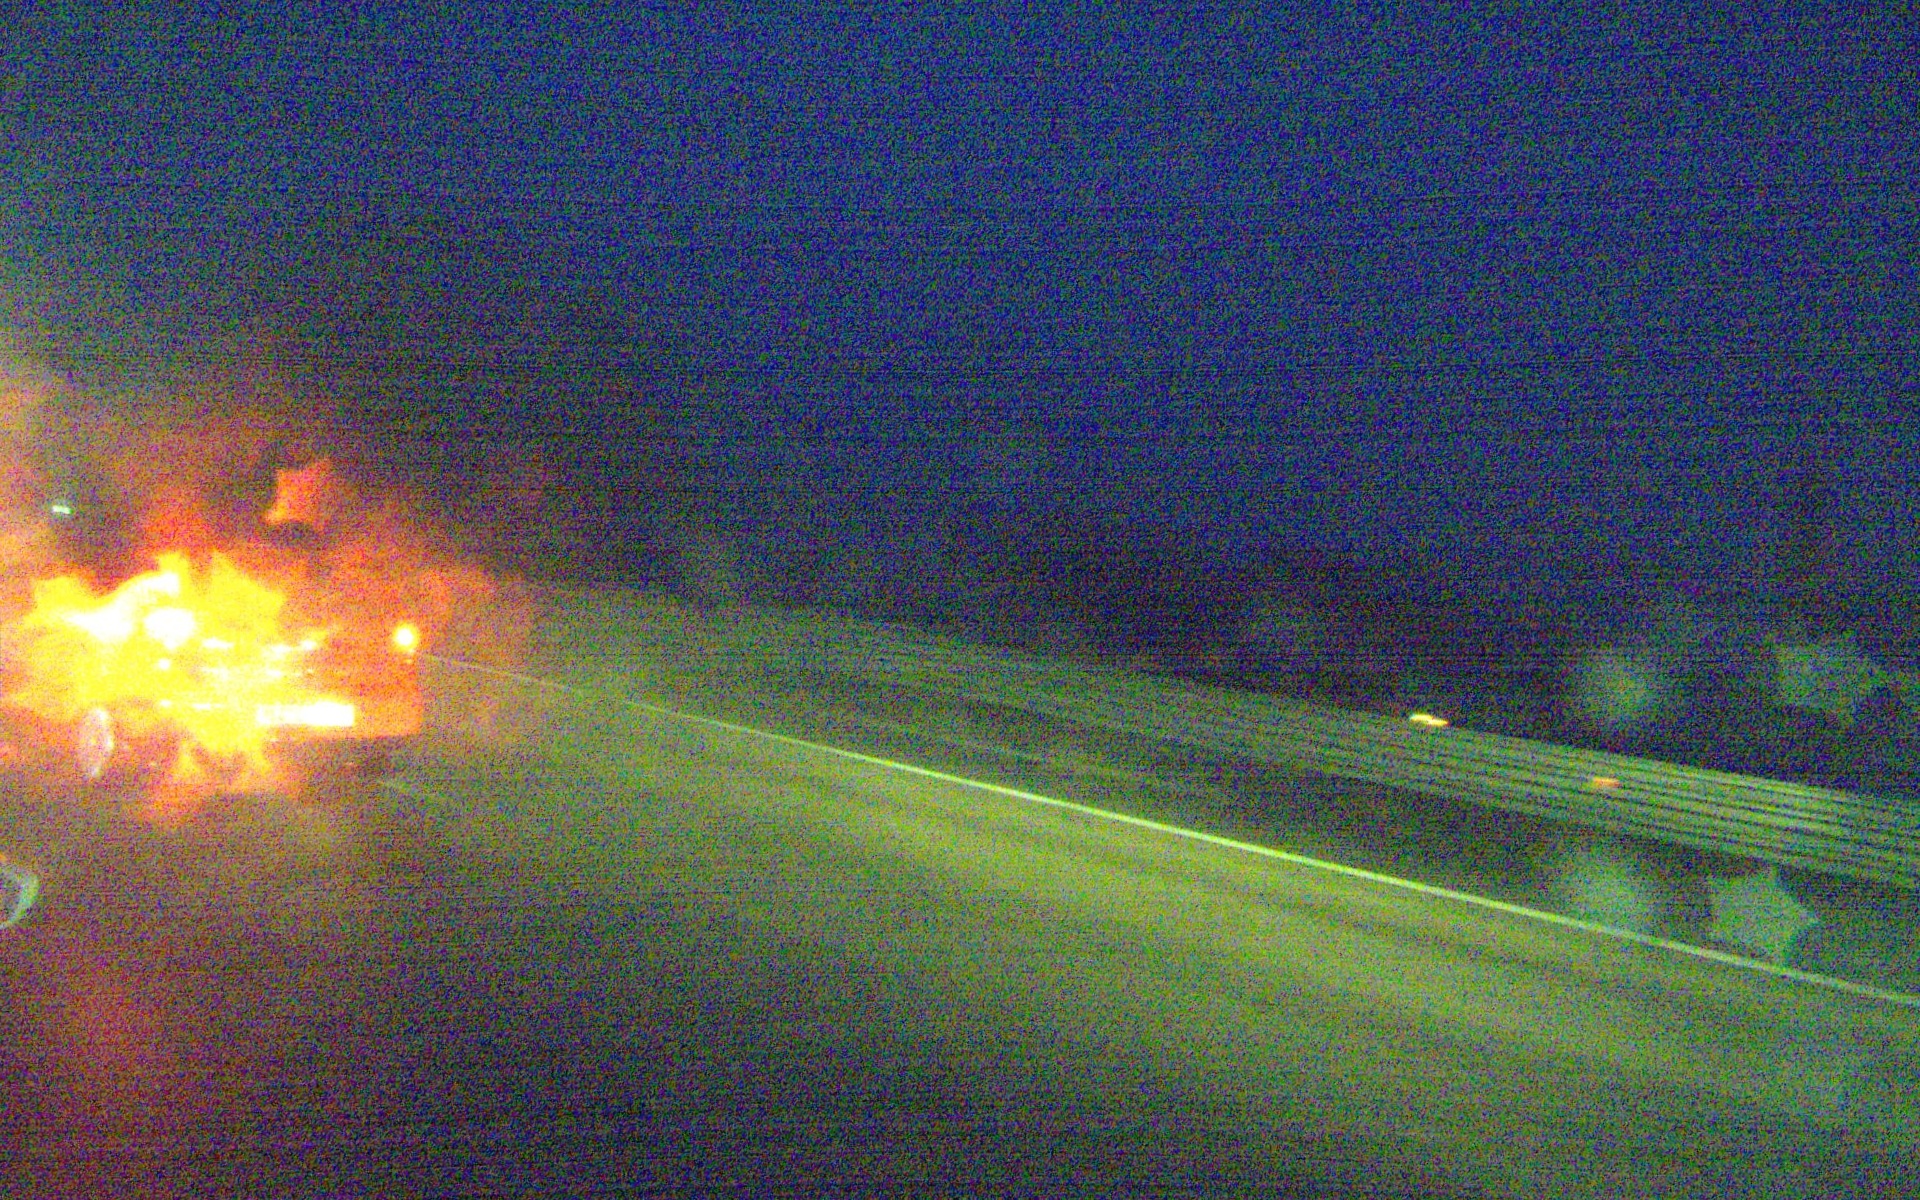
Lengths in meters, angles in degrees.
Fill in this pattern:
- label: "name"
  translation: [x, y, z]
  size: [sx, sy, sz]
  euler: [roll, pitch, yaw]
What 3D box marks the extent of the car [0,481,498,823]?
- label: "car"
  translation: [-5.304, 0.158, 6.729]
  size: [4.419, 1.594, 1.743]
  euler: [6, -1, 31]
